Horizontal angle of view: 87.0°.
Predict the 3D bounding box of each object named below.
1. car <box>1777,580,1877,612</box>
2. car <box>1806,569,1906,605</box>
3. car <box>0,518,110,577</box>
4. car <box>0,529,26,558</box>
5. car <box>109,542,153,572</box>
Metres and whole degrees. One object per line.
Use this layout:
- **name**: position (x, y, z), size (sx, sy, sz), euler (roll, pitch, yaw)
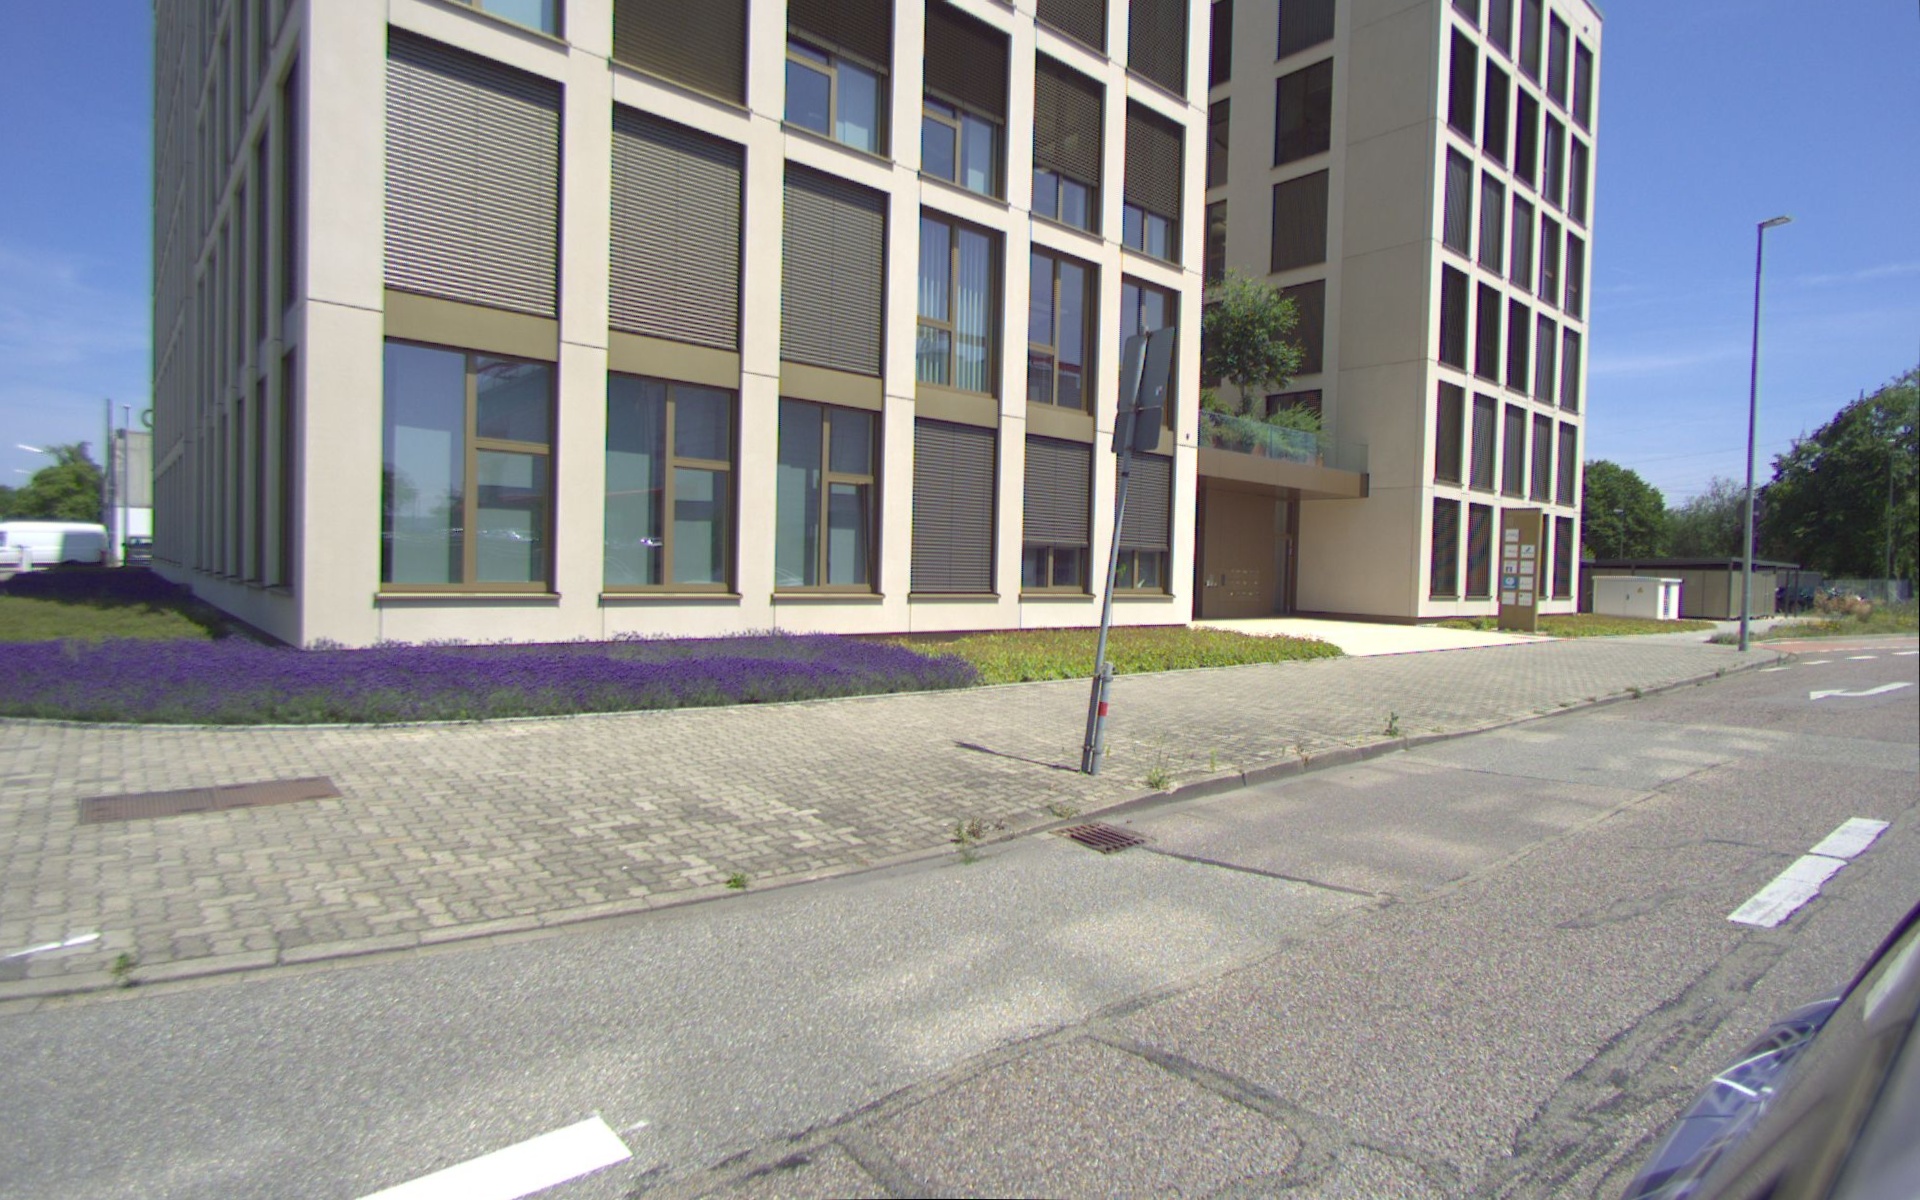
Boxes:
- **car**: position (50.155, -0.252, 58.617), size (3.959, 1.682, 1.823), euler (2, 2, 25)
- **car**: position (53.624, -0.801, 60.662), size (3.957, 1.977, 1.984), euler (2, 2, 24)
- **car**: position (-43.623, -2.453, 47.468), size (5.697, 2.565, 2.100), euler (1, 1, -40)
- **car**: position (-73.528, -4.304, 76.347), size (4.281, 2.146, 2.093), euler (0, 2, -38)
- **car**: position (-43.764, -2.279, 53.444), size (1.758, 1.540, 3.573), euler (0, 3, -40)
